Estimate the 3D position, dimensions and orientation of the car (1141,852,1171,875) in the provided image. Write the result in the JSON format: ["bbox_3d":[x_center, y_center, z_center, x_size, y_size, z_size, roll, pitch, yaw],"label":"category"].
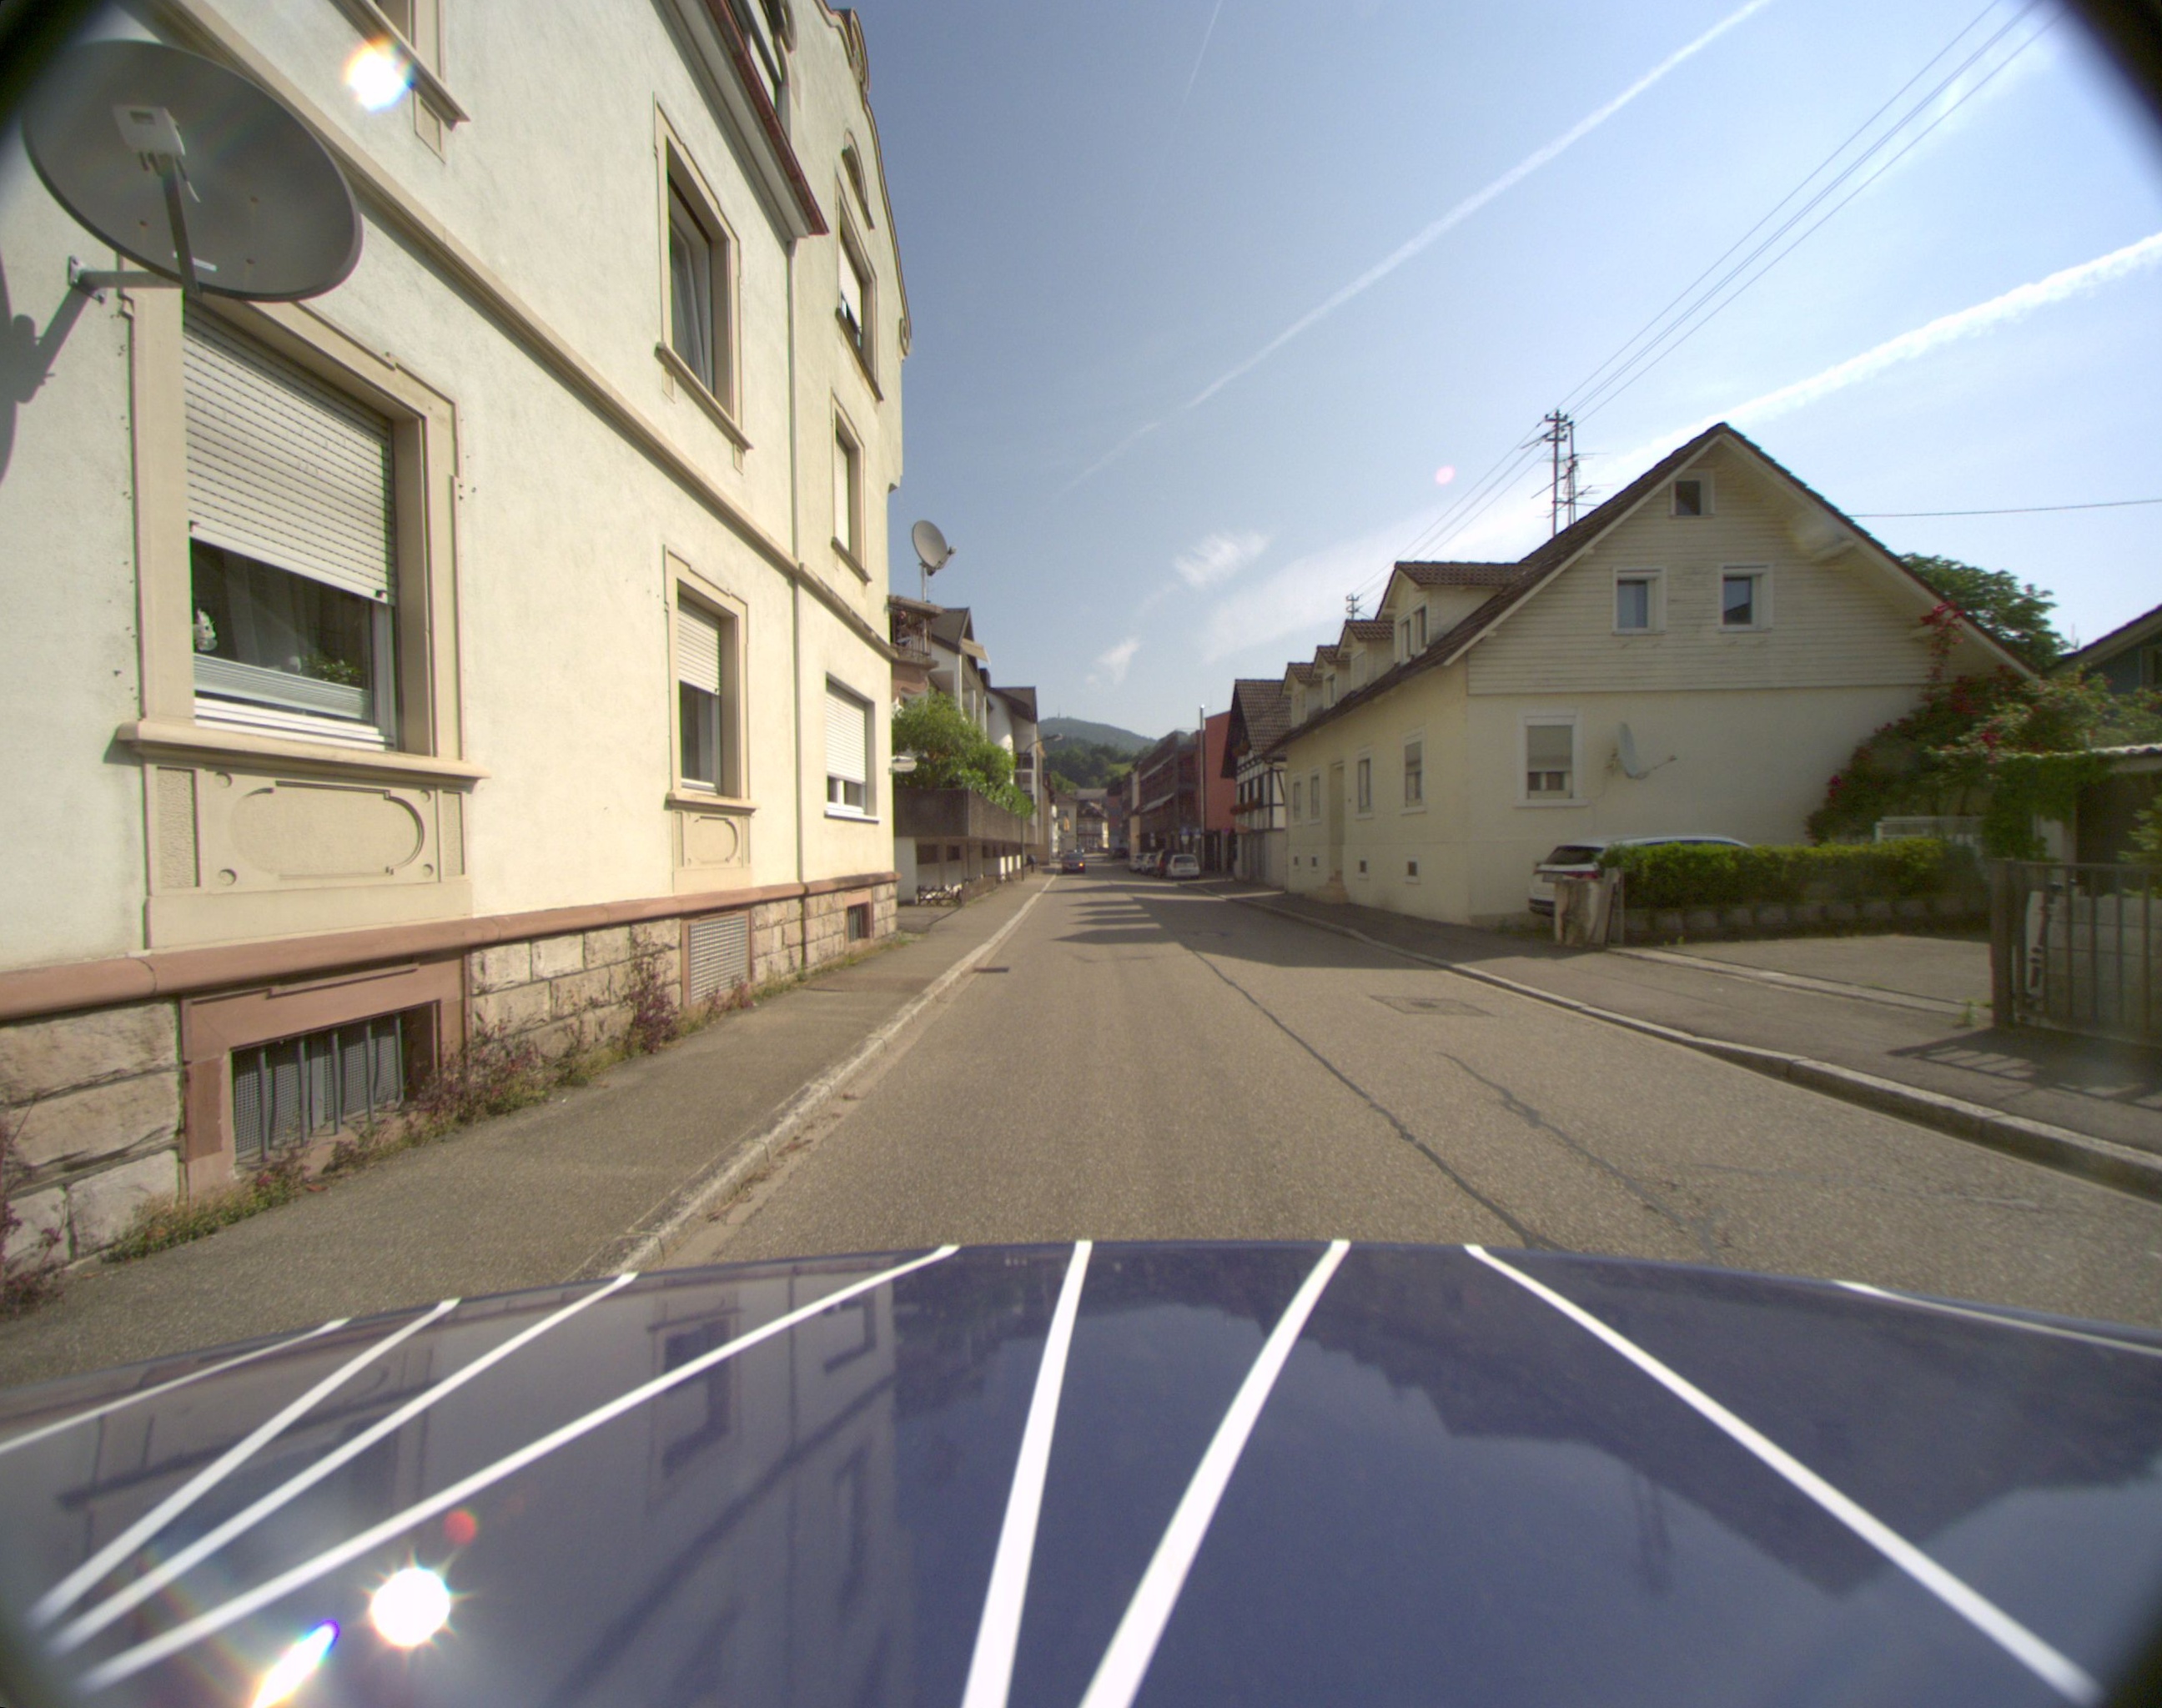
[{"bbox_3d":[5.419,0.634,55.405,1.679,1.580,3.948,-1,0,-2],"label":"car"}]

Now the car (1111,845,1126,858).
[{"bbox_3d":[5.087,-0.369,103.758,1.787,1.566,3.888,-4,1,-1],"label":"car"}]

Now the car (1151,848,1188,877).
[{"bbox_3d":[5.715,0.521,49.622,1.725,1.786,4.267,-1,0,-3],"label":"car"}]

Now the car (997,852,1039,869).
[{"bbox_3d":[-5.988,0.617,71.997,3.838,1.470,1.700,-2,0,-3],"label":"car"}]

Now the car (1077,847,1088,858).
[{"bbox_3d":[0.198,-0.303,146.444,1.999,2.002,3.999,-2,1,-1],"label":"car"}]

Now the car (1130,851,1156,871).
[{"bbox_3d":[5.015,0.544,62.235,1.678,1.546,3.763,-2,0,-2],"label":"car"}]

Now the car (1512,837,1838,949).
[{"bbox_3d":[9.741,0.591,12.699,3.998,1.584,1.907,-2,1,-2],"label":"car"}]

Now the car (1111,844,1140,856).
[{"bbox_3d":[6.589,-0.612,112.600,4.000,1.674,1.833,-1,-1,-9],"label":"car"}]

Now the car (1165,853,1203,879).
[{"bbox_3d":[5.995,0.698,44.550,1.670,1.423,3.568,-2,0,0],"label":"car"}]

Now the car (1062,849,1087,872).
[{"bbox_3d":[-0.501,0.464,58.964,1.822,1.652,3.999,-1,1,-2],"label":"car"}]
